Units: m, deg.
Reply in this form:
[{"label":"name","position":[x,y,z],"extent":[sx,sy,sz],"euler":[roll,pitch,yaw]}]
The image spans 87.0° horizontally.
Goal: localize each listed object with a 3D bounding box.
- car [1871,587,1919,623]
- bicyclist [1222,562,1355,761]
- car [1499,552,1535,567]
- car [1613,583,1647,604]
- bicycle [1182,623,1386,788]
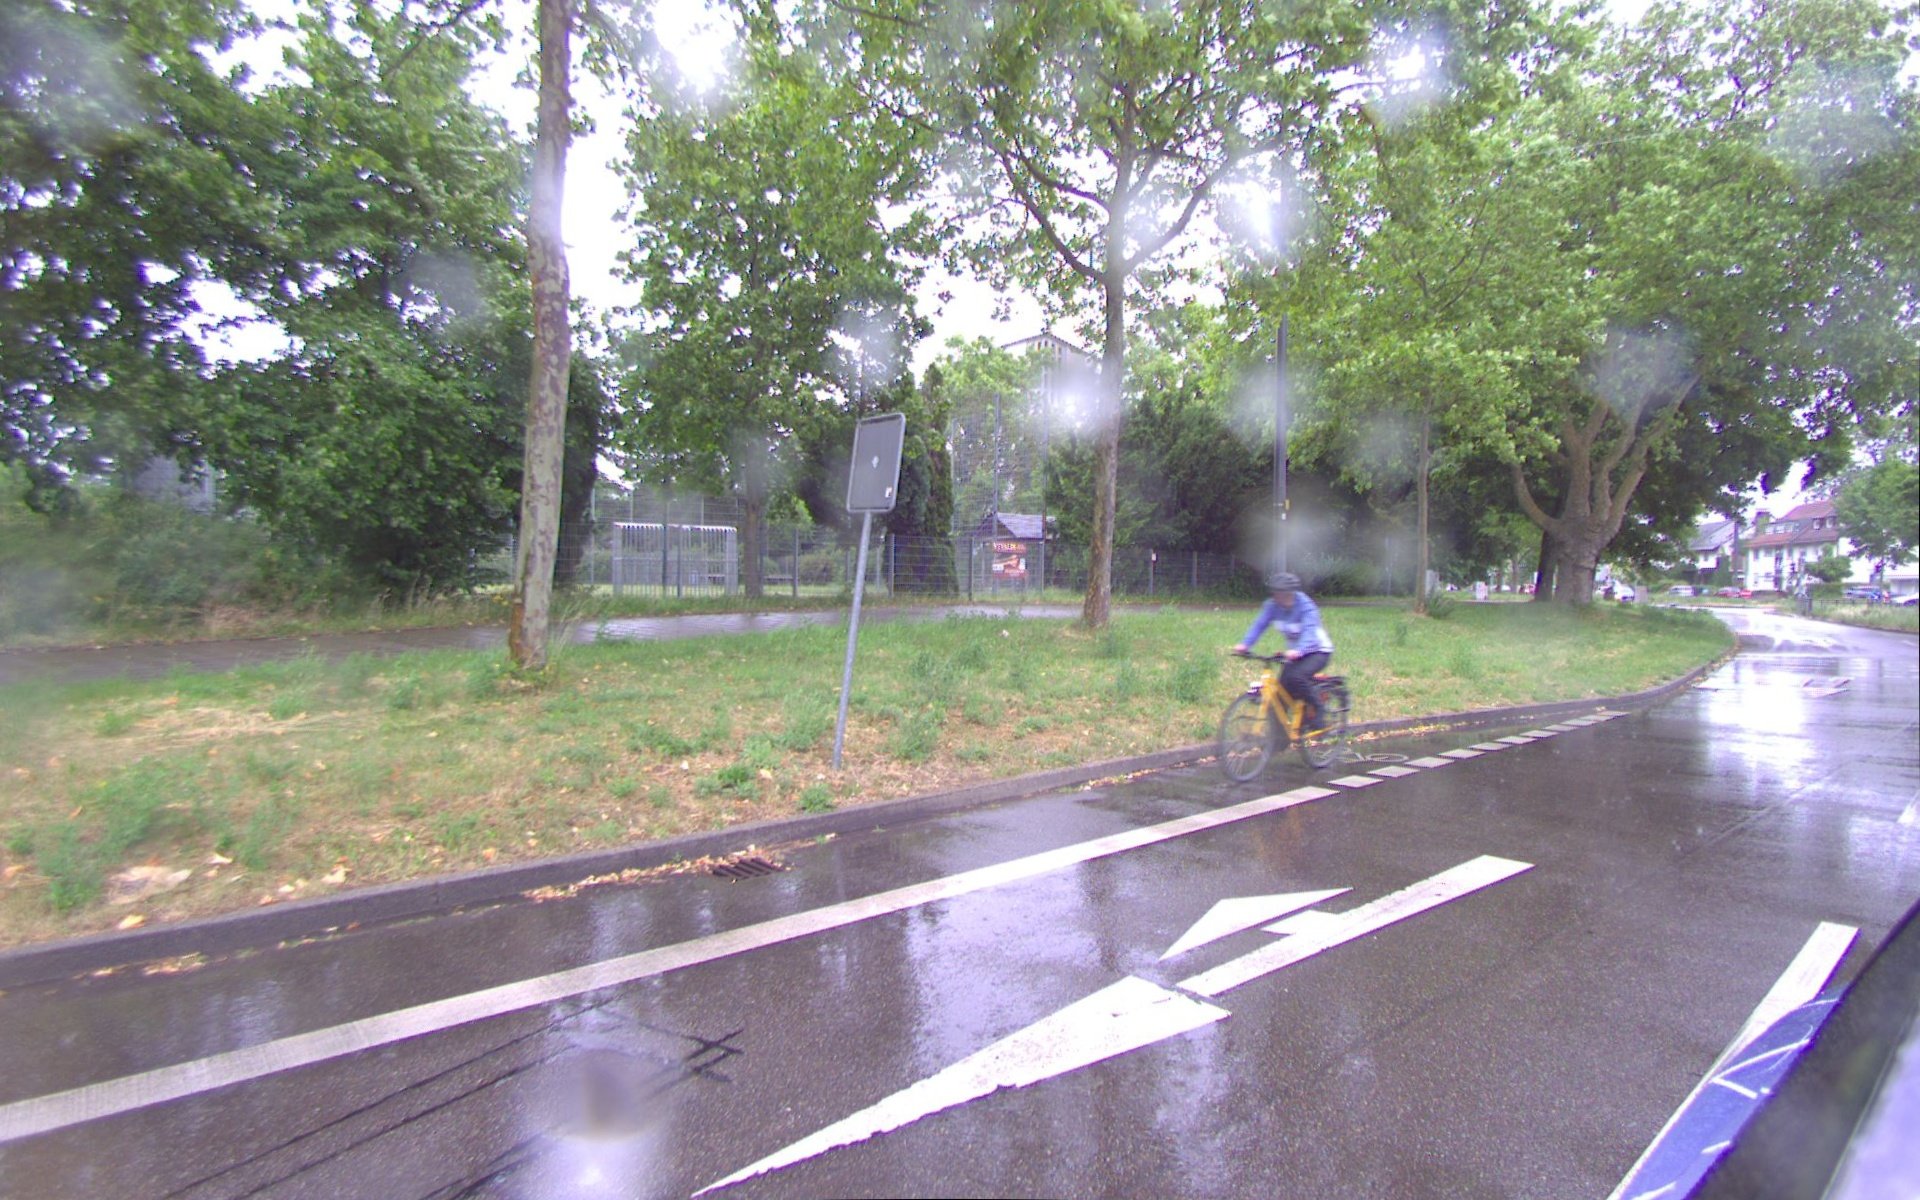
[{"label":"car","position":[39.409,0.179,40.664],"extent":[4.025,1.438,1.652],"euler":[0,0,39]},{"label":"bicyclist","position":[2.682,0.462,8.269],"extent":[0.829,1.525,0.692],"euler":[-1,1,-39]},{"label":"car","position":[73.804,-5.331,134.163],"extent":[3.958,1.850,1.983],"euler":[0,0,25]},{"label":"car","position":[55.852,-0.554,84.397],"extent":[1.855,1.638,3.774],"euler":[0,0,26]},{"label":"bicycle","position":[2.684,0.790,8.275],"extent":[1.851,1.131,0.692],"euler":[-1,1,-39]}]
